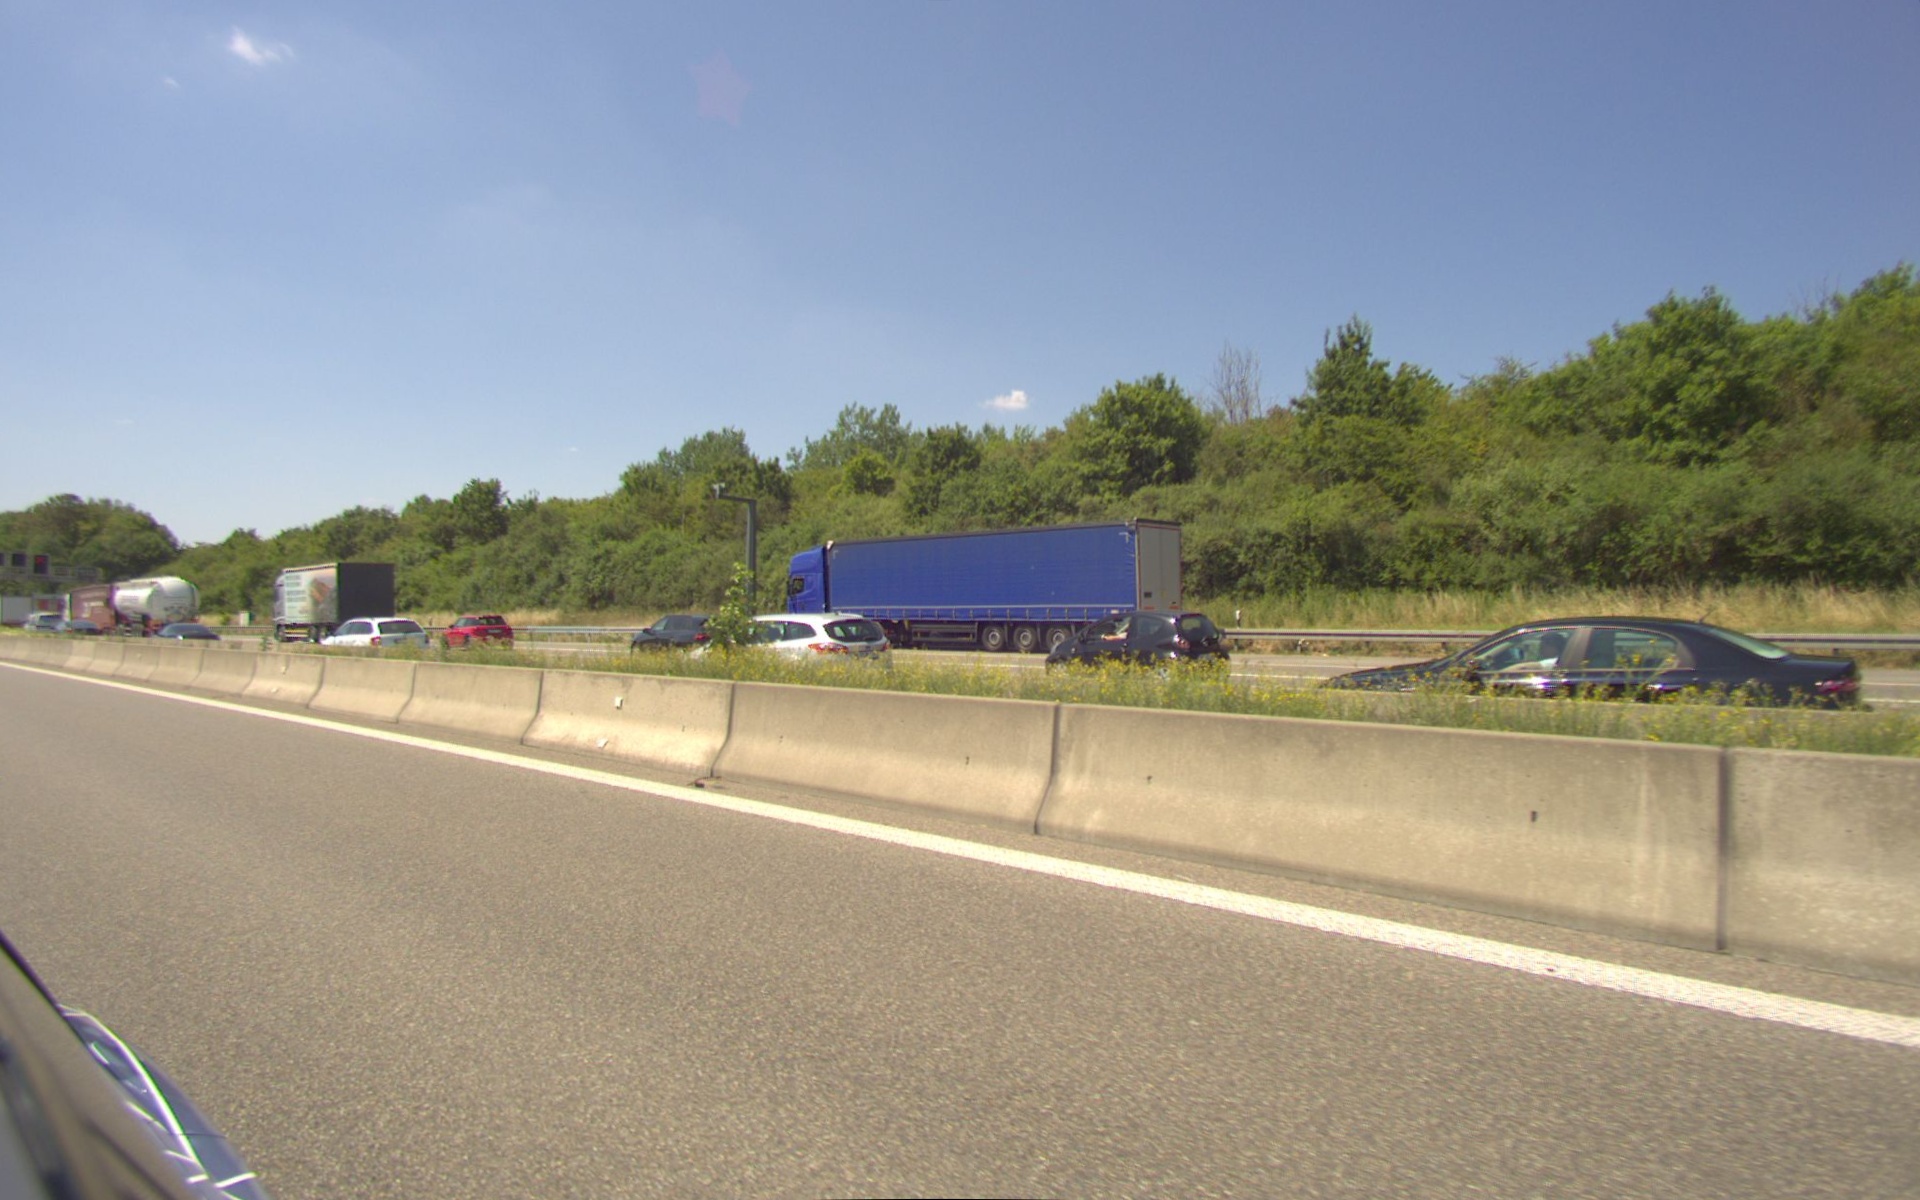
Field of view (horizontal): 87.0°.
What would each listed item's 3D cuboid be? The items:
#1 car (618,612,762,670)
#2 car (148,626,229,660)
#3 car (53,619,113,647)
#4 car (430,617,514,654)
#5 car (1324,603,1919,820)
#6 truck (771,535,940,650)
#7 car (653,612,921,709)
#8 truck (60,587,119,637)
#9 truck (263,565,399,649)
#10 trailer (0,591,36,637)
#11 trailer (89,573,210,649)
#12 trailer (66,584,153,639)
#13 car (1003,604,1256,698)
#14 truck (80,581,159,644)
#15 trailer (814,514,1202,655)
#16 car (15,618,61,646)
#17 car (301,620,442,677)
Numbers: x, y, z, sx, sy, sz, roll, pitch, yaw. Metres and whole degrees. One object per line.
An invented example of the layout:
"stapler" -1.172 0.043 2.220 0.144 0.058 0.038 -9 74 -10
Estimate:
"car" -7.482 1.074 27.768 1.855 1.461 4.636 0 -1 -43
"car" -31.496 1.709 41.269 4.218 1.285 1.773 -1 -1 40
"car" -50.258 1.884 57.987 4.828 1.481 1.825 -1 0 39
"car" -19.741 1.403 40.861 4.213 1.415 1.727 -1 -1 45
"car" 5.822 0.822 9.241 4.304 1.532 1.973 -1 -1 40
"truck" -4.078 -0.205 38.939 6.090 4.059 3.057 -2 -1 41
"car" -3.114 0.968 17.637 4.788 1.456 1.973 -1 -1 40
"truck" -74.033 1.032 86.033 5.127 4.039 2.939 -1 -1 39
"truck" -32.581 0.413 52.146 10.348 3.946 2.978 -1 -1 41
"trailer" -101.510 1.485 107.145 13.631 4.609 3.322 -1 0 38
"trailer" -49.658 0.677 61.767 14.158 4.196 2.908 -1 0 40
"trailer" -68.845 0.946 81.721 14.070 4.141 2.909 -1 -1 40
"car" 3.046 0.869 18.821 4.309 1.532 1.971 -1 -1 45
"truck" -54.936 0.803 66.104 6.080 3.910 2.855 -1 0 39
"trailer" 0.926 -0.282 34.530 14.488 4.001 3.048 -2 -1 42
"car" -71.050 2.437 77.973 4.539 2.045 1.937 -1 -1 39
"car" -17.430 1.369 29.868 5.147 1.532 1.973 -1 -1 40
